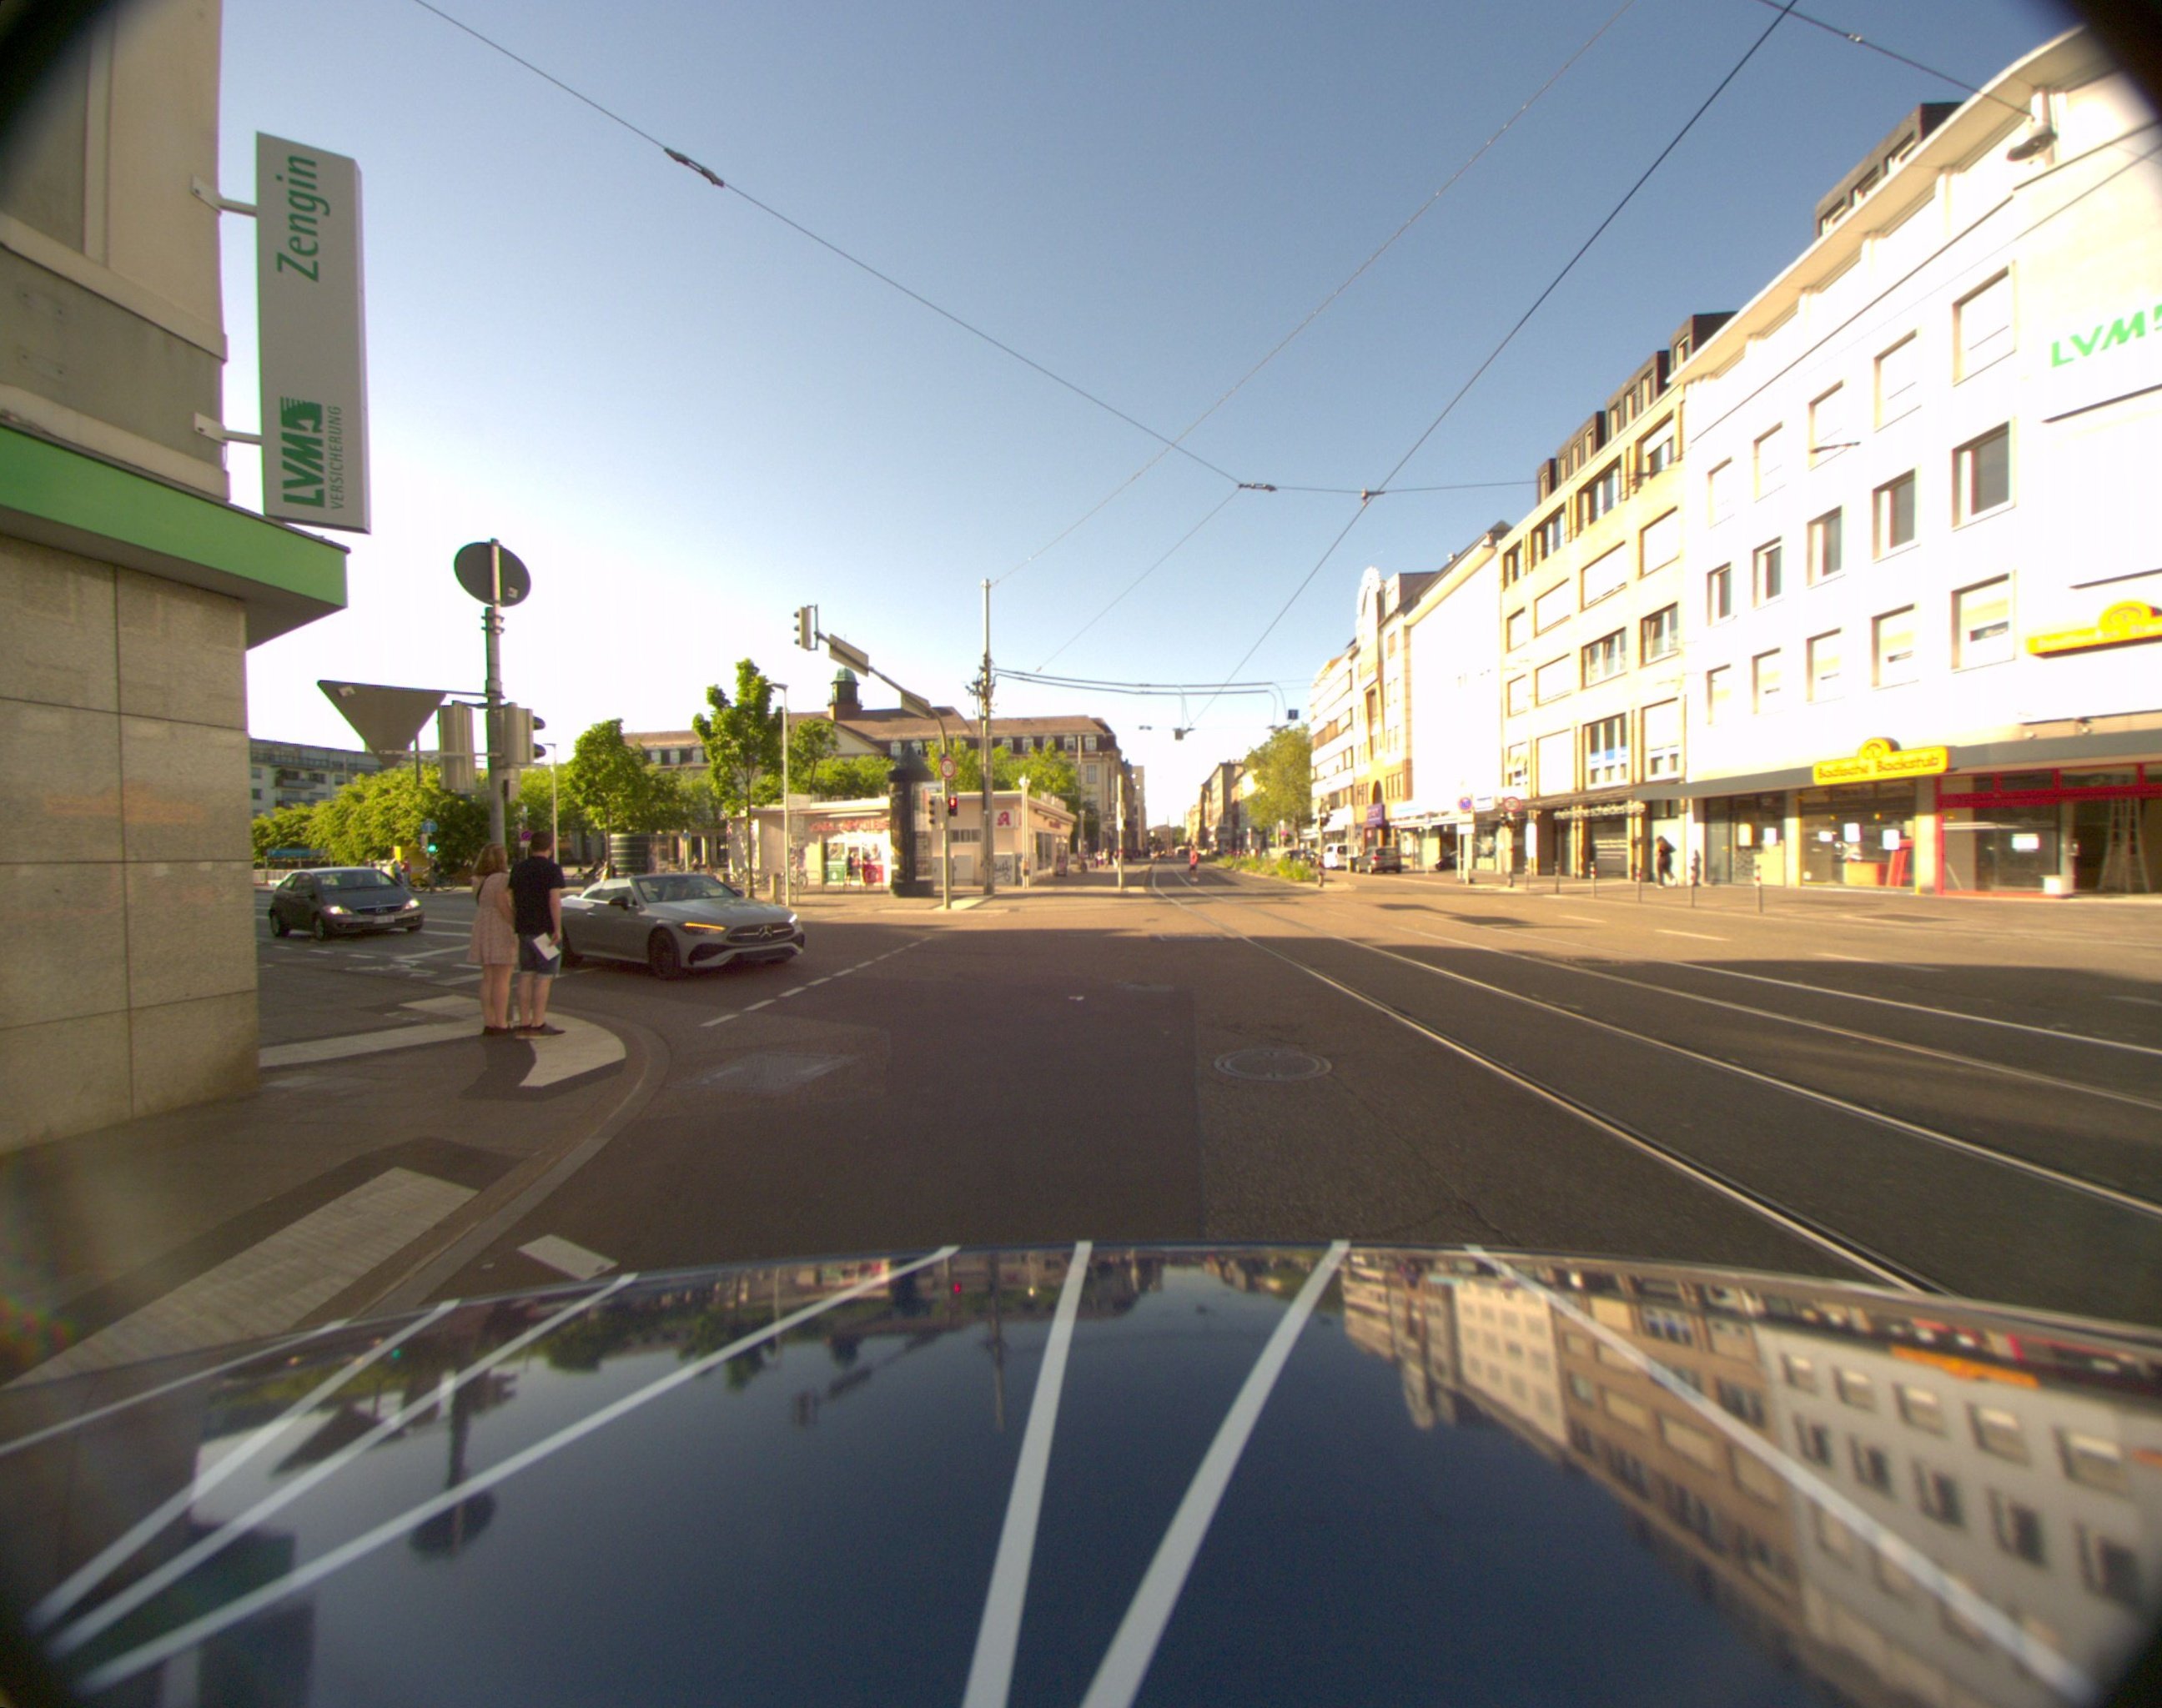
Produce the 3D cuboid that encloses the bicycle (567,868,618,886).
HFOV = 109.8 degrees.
[{"bbox_3d":[-29.723,1.391,46.264,2.579,1.001,0.783,-1,1,-37],"label":"bicycle"}]

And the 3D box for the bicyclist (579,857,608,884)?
[{"bbox_3d":[-29.724,0.988,46.308,1.374,1.588,0.979,-3,2,-36],"label":"bicyclist"}]

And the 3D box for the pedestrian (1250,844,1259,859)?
[{"bbox_3d":[19.085,-0.263,83.635,0.708,1.705,0.578,-2,1,-41],"label":"pedestrian"}]

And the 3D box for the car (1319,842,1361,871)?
[{"bbox_3d":[18.532,0.155,54.519,1.997,2.002,4.845,-1,0,9],"label":"car"}]

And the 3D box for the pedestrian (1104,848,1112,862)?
[{"bbox_3d":[2.395,0.103,66.954,0.622,1.266,0.780,-1,1,8],"label":"pedestrian"}]

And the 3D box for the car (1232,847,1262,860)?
[{"bbox_3d":[23.872,-0.061,109.586,3.995,1.787,2.001,-1,0,6],"label":"car"}]

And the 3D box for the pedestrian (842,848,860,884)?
[{"bbox_3d":[-11.014,0.562,36.352,0.610,1.699,0.522,0,1,30],"label":"pedestrian"}]

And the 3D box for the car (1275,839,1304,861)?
[{"bbox_3d":[19.544,-0.403,71.441,1.998,2.002,4.001,-1,0,6],"label":"car"}]

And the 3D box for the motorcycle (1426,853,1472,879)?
[{"bbox_3d":[21.997,0.736,45.474,2.253,1.496,1.000,-1,1,3],"label":"motorcycle"}]

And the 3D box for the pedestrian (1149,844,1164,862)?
[{"bbox_3d":[11.670,-0.102,117.369,1.948,2.774,1.380,-1,1,15],"label":"pedestrian"}]

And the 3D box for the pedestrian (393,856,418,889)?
[{"bbox_3d":[-37.159,1.023,41.794,0.784,1.801,0.588,-2,1,-14],"label":"pedestrian"}]

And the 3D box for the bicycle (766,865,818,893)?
[{"bbox_3d":[-12.262,1.036,32.267,0.751,1.082,1.998,-1,2,32],"label":"bicycle"}]

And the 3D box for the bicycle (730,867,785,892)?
[{"bbox_3d":[-14.226,1.088,33.441,0.885,0.996,2.023,0,1,44],"label":"bicycle"}]

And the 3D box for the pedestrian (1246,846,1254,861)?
[{"bbox_3d":[18.685,-0.082,84.145,0.708,1.615,0.578,-2,1,-41],"label":"pedestrian"}]

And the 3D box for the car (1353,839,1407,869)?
[{"bbox_3d":[18.109,-0.022,46.225,1.998,1.696,4.001,-1,0,6],"label":"car"}]

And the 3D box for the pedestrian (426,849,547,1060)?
[{"bbox_3d":[-5.261,0.844,6.736,0.648,1.749,0.575,-1,2,29],"label":"pedestrian"}]

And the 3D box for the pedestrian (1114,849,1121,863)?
[{"bbox_3d":[3.221,0.180,67.319,0.509,1.266,0.720,-1,1,10],"label":"pedestrian"}]

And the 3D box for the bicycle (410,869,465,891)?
[{"bbox_3d":[-34.580,1.395,40.856,2.180,1.066,0.761,-2,2,-39],"label":"bicycle"}]

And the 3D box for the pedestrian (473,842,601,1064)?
[{"bbox_3d":[-4.784,0.819,6.698,0.680,1.831,0.643,-1,1,29],"label":"pedestrian"}]

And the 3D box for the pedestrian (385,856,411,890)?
[{"bbox_3d":[-36.792,1.006,40.932,0.783,1.801,0.589,-1,1,4],"label":"pedestrian"}]

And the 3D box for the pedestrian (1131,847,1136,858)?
[{"bbox_3d":[7.023,-0.223,101.626,0.690,1.372,0.780,-1,1,7],"label":"pedestrian"}]

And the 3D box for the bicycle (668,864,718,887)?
[{"bbox_3d":[-18.255,0.988,35.764,0.763,0.997,1.894,0,2,38],"label":"bicycle"}]

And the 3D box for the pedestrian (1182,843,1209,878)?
[{"bbox_3d":[5.558,0.297,36.928,0.946,1.654,0.916,-1,1,-19],"label":"pedestrian"}]

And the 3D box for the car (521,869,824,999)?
[{"bbox_3d":[-6.062,1.016,11.160,4.352,1.454,1.914,-1,3,32],"label":"car"}]

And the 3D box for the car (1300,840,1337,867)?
[{"bbox_3d":[18.779,-0.037,60.180,1.998,2.002,4.001,-1,0,6],"label":"car"}]

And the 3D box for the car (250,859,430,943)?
[{"bbox_3d":[-17.469,1.012,17.898,3.989,1.718,2.004,-1,1,30],"label":"car"}]

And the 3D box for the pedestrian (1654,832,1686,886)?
[{"bbox_3d":[18.710,0.154,24.152,0.710,1.699,0.561,0,1,27],"label":"pedestrian"}]

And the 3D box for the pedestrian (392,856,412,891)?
[{"bbox_3d":[-38.150,1.099,42.693,0.781,1.907,0.610,0,2,32],"label":"pedestrian"}]

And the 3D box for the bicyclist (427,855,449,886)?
[{"bbox_3d":[-34.498,0.867,40.800,0.807,1.639,0.991,-3,2,-38],"label":"bicyclist"}]

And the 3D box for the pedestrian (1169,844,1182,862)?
[{"bbox_3d":[14.660,-0.183,117.828,1.836,2.774,1.294,-1,1,15],"label":"pedestrian"}]

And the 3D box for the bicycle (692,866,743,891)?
[{"bbox_3d":[-16.274,1.068,34.070,0.763,0.997,1.894,0,2,38],"label":"bicycle"}]

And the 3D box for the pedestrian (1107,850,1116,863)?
[{"bbox_3d":[3.384,0.237,85.351,0.946,1.456,0.780,-1,1,7],"label":"pedestrian"}]

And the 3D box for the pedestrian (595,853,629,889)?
[{"bbox_3d":[-22.168,0.794,35.925,1.083,1.688,0.904,0,2,33],"label":"pedestrian"}]

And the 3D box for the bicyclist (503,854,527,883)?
[{"bbox_3d":[-32.246,0.813,43.287,0.945,1.599,1.167,-2,1,-42],"label":"bicyclist"}]

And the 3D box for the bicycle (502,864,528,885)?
[{"bbox_3d":[-32.255,1.134,43.293,0.945,1.126,2.472,-2,1,-42],"label":"bicycle"}]
